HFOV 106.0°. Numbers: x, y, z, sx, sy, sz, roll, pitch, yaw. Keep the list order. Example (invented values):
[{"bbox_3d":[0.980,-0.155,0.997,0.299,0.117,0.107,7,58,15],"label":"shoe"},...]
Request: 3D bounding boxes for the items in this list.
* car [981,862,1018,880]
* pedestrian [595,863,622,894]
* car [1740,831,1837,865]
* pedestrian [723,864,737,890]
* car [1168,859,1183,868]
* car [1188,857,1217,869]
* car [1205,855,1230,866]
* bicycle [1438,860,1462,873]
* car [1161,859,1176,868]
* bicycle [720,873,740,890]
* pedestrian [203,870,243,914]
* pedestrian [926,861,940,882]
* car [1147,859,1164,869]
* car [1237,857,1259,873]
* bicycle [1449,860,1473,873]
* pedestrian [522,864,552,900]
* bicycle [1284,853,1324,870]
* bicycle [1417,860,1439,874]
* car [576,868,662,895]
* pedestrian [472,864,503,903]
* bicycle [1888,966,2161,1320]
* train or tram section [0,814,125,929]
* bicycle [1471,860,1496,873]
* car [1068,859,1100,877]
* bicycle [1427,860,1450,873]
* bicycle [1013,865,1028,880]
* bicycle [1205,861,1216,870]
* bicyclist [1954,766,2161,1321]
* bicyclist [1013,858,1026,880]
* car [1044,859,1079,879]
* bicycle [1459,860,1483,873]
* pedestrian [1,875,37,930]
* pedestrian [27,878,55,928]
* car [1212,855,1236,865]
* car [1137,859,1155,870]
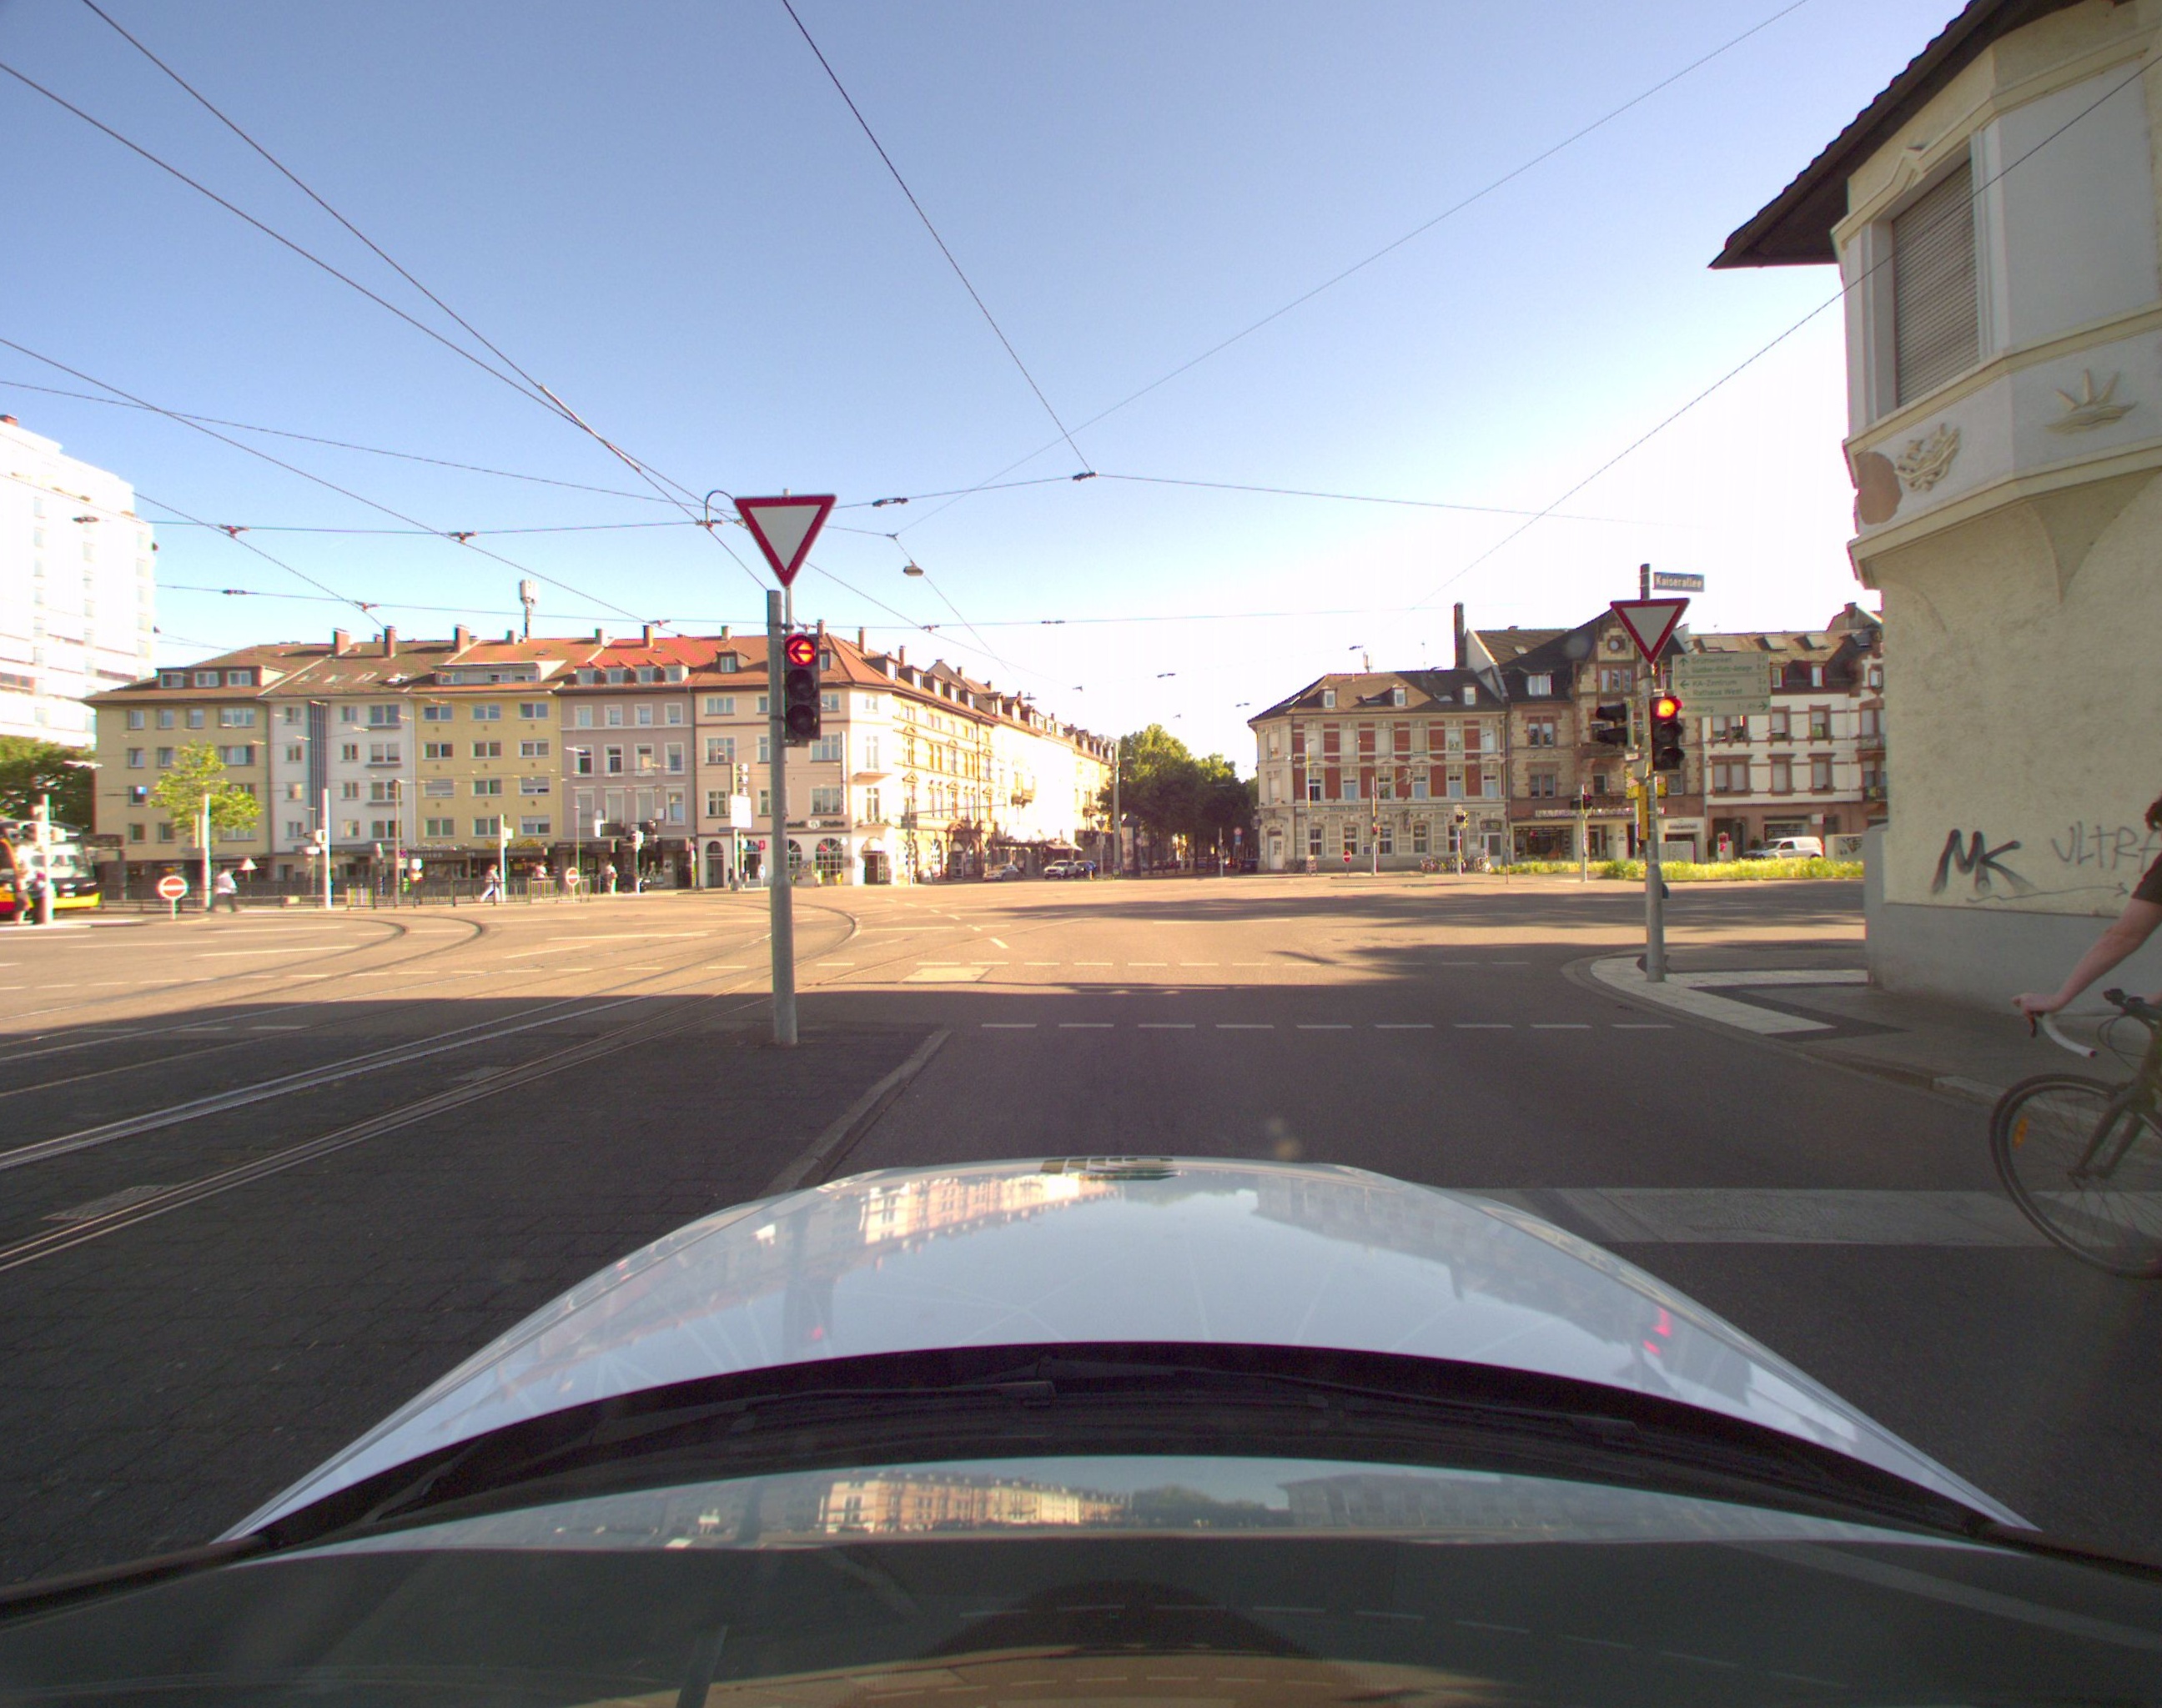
[{"bbox_3d":[-6.701,1.426,67.229,1.664,1.354,3.608,-2,0,19],"label":"car"},{"bbox_3d":[-24.670,1.288,42.544,0.842,1.577,0.836,-1,-1,11],"label":"pedestrian"},{"bbox_3d":[45.450,-0.383,52.401,4.406,2.013,2.002,-1,0,4],"label":"car"},{"bbox_3d":[-22.835,1.468,53.009,0.580,1.670,0.753,0,-1,2],"label":"pedestrian"},{"bbox_3d":[15.733,1.523,135.603,1.664,1.354,3.608,-2,0,19],"label":"car"},{"bbox_3d":[17.215,1.258,115.456,3.870,1.648,1.691,-2,0,19],"label":"car"},{"bbox_3d":[21.461,1.061,127.722,3.549,1.648,1.691,-2,0,19],"label":"car"},{"bbox_3d":[23.892,0.814,52.742,0.656,0.840,2.162,0,-1,3],"label":"bicycle"},{"bbox_3d":[14.045,1.504,130.610,1.664,1.354,3.608,-2,0,19],"label":"car"},{"bbox_3d":[-22.837,1.760,52.973,0.570,1.077,1.497,0,-1,2],"label":"bicycle"},{"bbox_3d":[-31.789,1.384,30.172,0.657,1.577,0.889,-1,-1,29],"label":"pedestrian"},{"bbox_3d":[-11.420,1.347,62.955,0.770,1.670,0.834,-1,-1,17],"label":"pedestrian"},{"bbox_3d":[11.254,1.511,122.365,1.664,1.354,3.608,-2,0,19],"label":"car"},{"bbox_3d":[16.913,1.098,82.336,1.664,1.483,3.967,-2,0,19],"label":"car"},{"bbox_3d":[24.575,0.809,52.749,0.656,0.840,2.162,0,-1,3],"label":"bicycle"},{"bbox_3d":[-24.058,1.216,36.036,0.720,1.577,0.836,-1,-1,11],"label":"pedestrian"},{"bbox_3d":[15.611,0.500,57.061,2.547,1.174,0.818,0,-1,-1],"label":"bicycle"},{"bbox_3d":[22.433,0.825,52.698,0.656,0.840,2.162,0,-1,3],"label":"bicycle"},{"bbox_3d":[-30.358,1.791,53.641,4.347,1.711,2.308,0,-1,4],"label":"car"},{"bbox_3d":[-24.171,1.186,33.177,0.545,1.577,0.838,-1,-1,29],"label":"pedestrian"},{"bbox_3d":[3.604,0.957,2.511,0.516,0.970,1.750,-1,0,2],"label":"bicycle"},{"bbox_3d":[-41.839,0.739,28.579,12.968,3.814,2.941,-1,0,0],"label":"train or tram section"},{"bbox_3d":[26.016,0.798,52.718,0.656,0.840,2.162,0,-1,3],"label":"bicycle"},{"bbox_3d":[0.316,1.242,73.772,1.664,1.483,3.967,-2,0,19],"label":"car"},{"bbox_3d":[23.168,0.820,52.756,0.656,0.840,2.162,0,-1,3],"label":"bicycle"},{"bbox_3d":[-4.886,1.485,65.537,0.696,1.118,1.642,-1,-1,16],"label":"bicycle"},{"bbox_3d":[15.780,1.393,99.281,0.636,1.021,1.839,0,-1,-12],"label":"bicycle"},{"bbox_3d":[3.580,0.576,2.502,0.570,1.701,1.117,-1,0,2],"label":"bicyclist"},{"bbox_3d":[-4.933,1.210,65.417,0.772,1.803,1.060,-1,-1,16],"label":"bicyclist"},{"bbox_3d":[-1.597,1.215,67.513,1.664,1.483,3.789,-2,0,19],"label":"car"},{"bbox_3d":[25.212,0.804,52.703,0.656,0.840,2.162,0,-1,3],"label":"bicycle"},{"bbox_3d":[-32.914,1.500,25.244,0.456,1.644,0.643,-1,1,38],"label":"pedestrian"},{"bbox_3d":[-31.909,1.500,24.995,0.456,1.505,0.485,-1,1,38],"label":"pedestrian"},{"bbox_3d":[23.367,0.967,133.155,3.549,1.648,1.691,-2,0,19],"label":"car"},{"bbox_3d":[9.184,1.494,115.449,1.664,1.354,3.608,-2,0,19],"label":"car"}]
